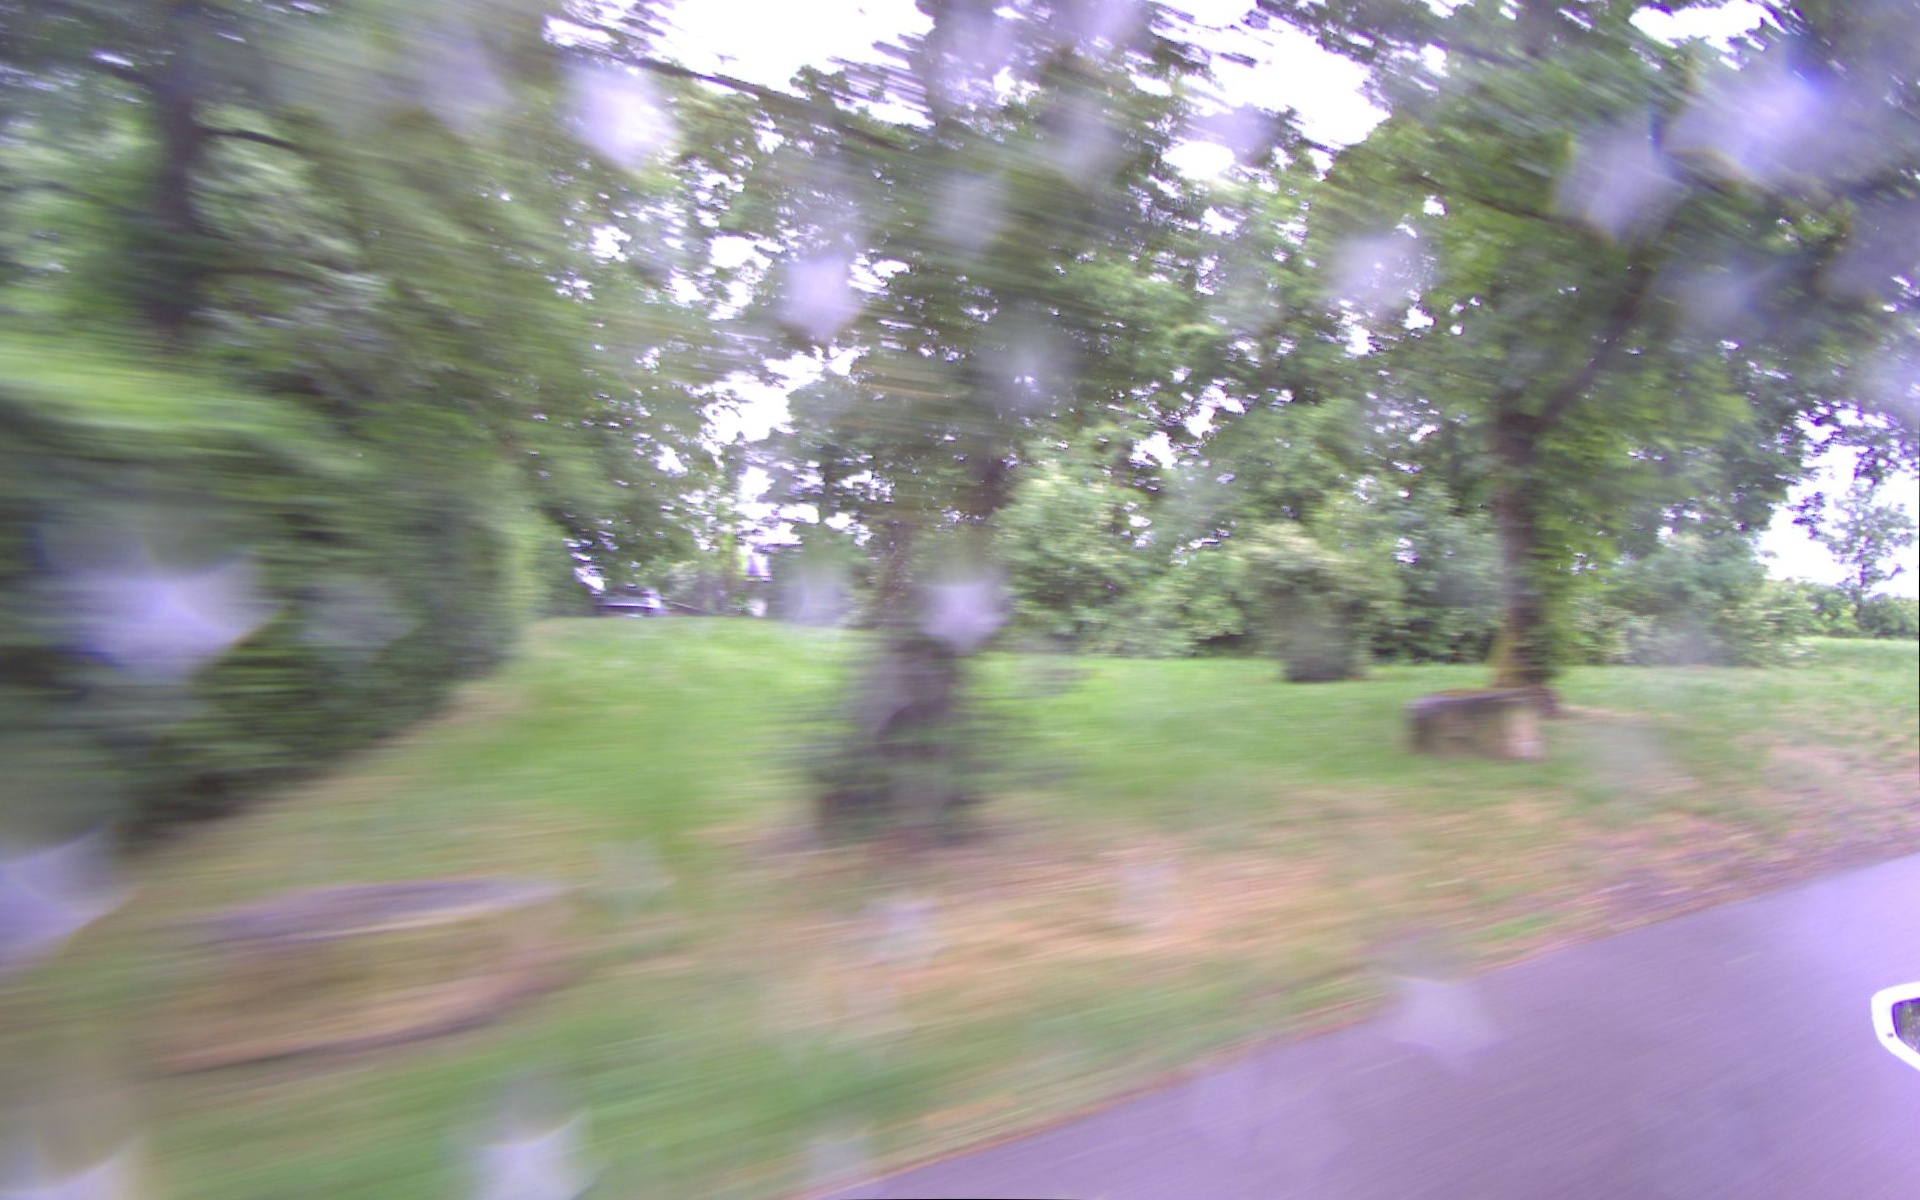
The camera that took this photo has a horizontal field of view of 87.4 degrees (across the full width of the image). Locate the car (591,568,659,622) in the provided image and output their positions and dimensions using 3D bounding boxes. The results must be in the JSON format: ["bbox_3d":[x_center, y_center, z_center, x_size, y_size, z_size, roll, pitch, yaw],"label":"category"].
[{"bbox_3d":[-10.499,-0.122,31.646,1.851,1.503,3.985,3,-1,-18],"label":"car"}]
